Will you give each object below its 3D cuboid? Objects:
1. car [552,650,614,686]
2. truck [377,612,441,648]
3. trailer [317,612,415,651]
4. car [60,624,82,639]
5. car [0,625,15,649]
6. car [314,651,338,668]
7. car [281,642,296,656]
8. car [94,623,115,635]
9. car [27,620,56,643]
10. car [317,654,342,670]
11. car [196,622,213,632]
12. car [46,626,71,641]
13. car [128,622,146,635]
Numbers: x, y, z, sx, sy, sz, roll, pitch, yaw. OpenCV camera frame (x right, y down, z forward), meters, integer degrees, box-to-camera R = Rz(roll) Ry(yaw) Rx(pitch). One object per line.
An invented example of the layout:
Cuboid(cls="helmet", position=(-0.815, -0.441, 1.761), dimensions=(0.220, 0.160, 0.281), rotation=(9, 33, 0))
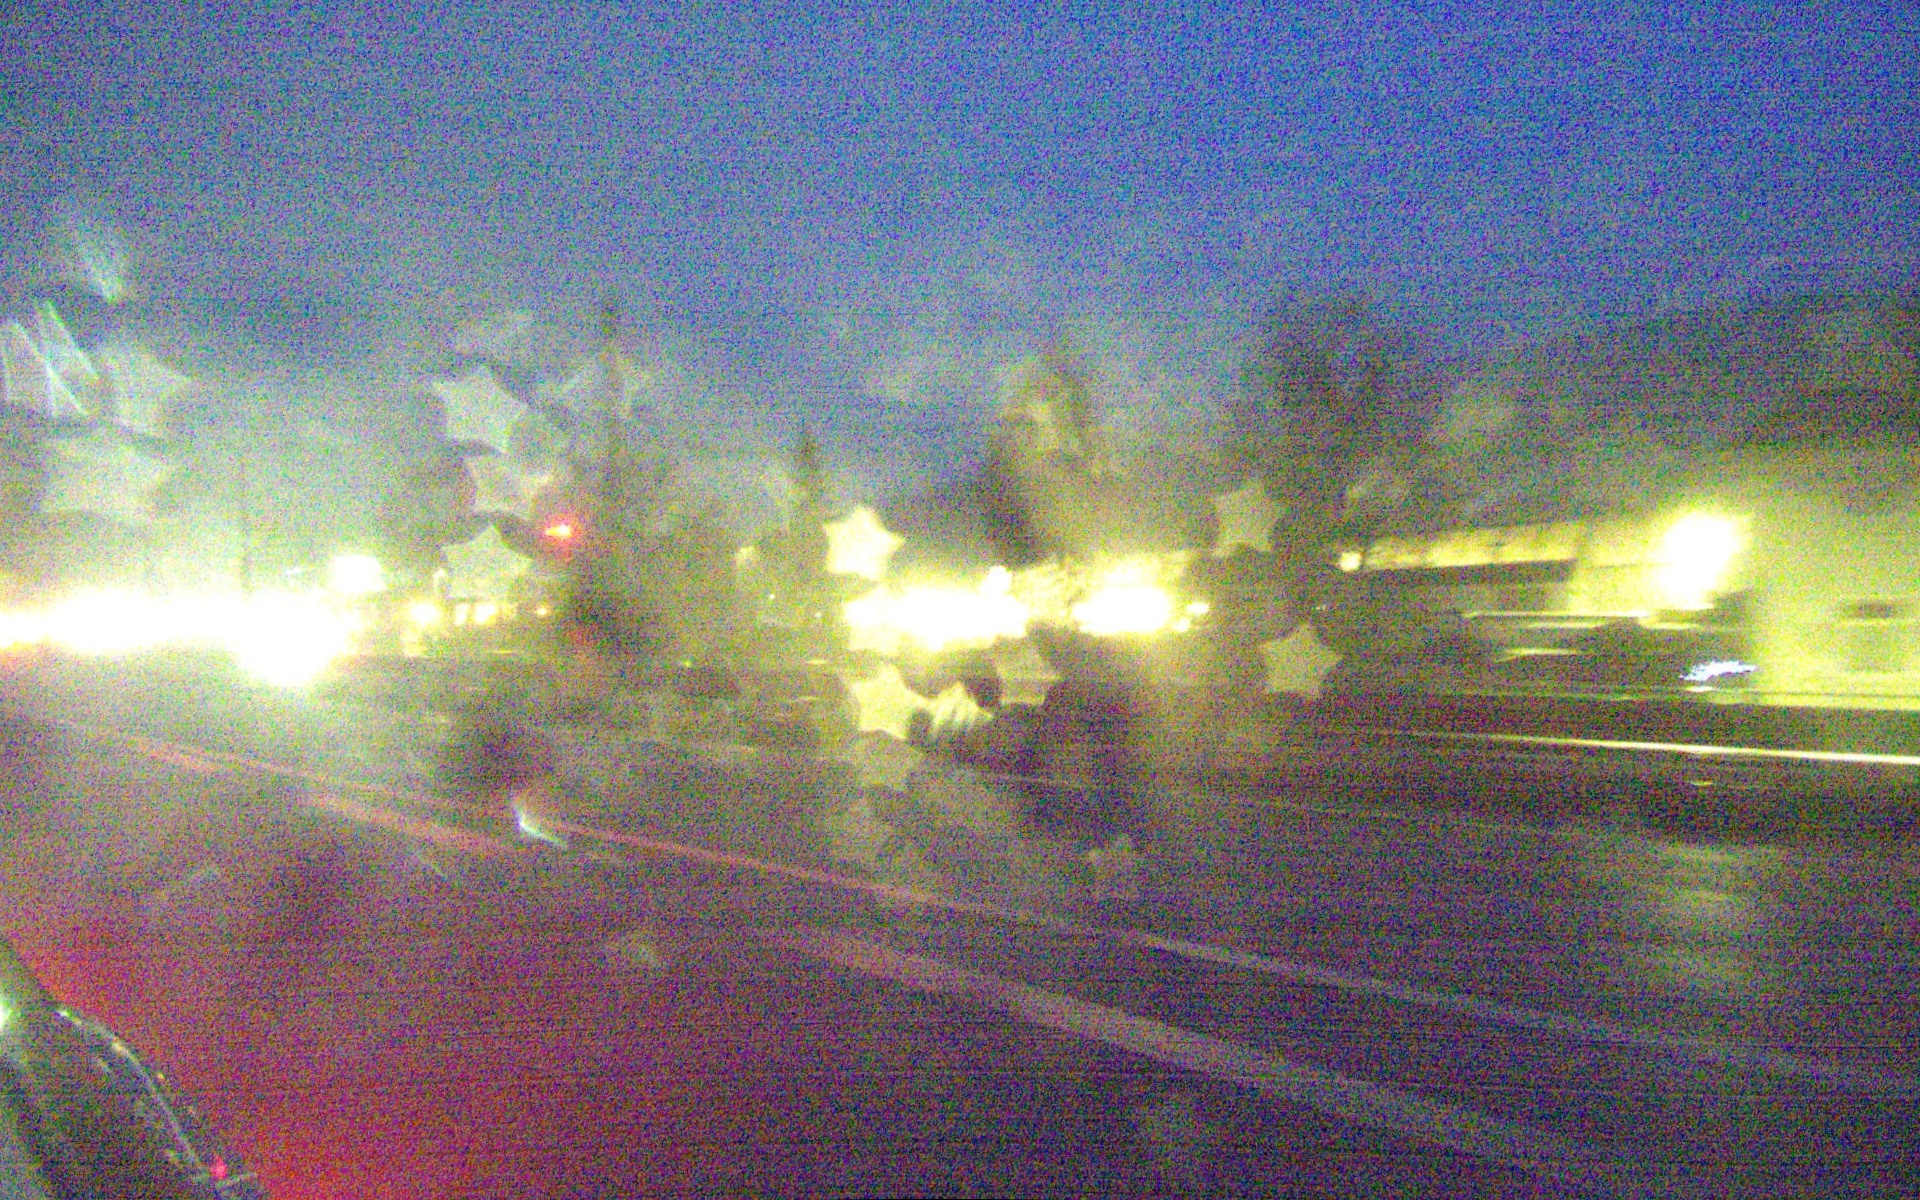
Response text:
Cuboid(cls="car", position=(-23.889, 4.245, 64.026), dimensions=(3.997, 2.029, 1.973), rotation=(-1, 0, 40))
Cuboid(cls="truck", position=(-77.490, 4.162, 142.423), dimensions=(3.323, 4.832, 7.248), rotation=(-1, 0, 28))
Cuboid(cls="trailer", position=(-80.298, 4.220, 137.193), dimensions=(3.323, 4.832, 11.444), rotation=(-1, 0, 28))
Cuboid(cls="car", position=(-107.059, 3.799, 121.860), dimensions=(1.665, 1.693, 3.476), rotation=(0, 0, -36))
Cuboid(cls="car", position=(-69.797, 2.661, 73.148), dimensions=(4.613, 1.625, 1.971), rotation=(-1, -1, 44))
Cuboid(cls="car", position=(-74.641, 6.974, 119.206), dimensions=(1.786, 1.688, 4.299), rotation=(-1, 0, -40))
Cuboid(cls="car", position=(-95.501, 6.977, 143.954), dimensions=(1.783, 1.688, 4.304), rotation=(-1, 0, -33))
Cuboid(cls="car", position=(-116.382, 3.947, 137.679), dimensions=(1.793, 1.571, 4.189), rotation=(-1, 0, -34))
Cuboid(cls="car", position=(-88.326, 2.965, 97.380), dimensions=(1.969, 2.090, 4.005), rotation=(-1, 0, -42))
Cuboid(cls="car", position=(-69.007, 6.763, 110.749), dimensions=(1.785, 1.582, 4.300), rotation=(-1, 0, -39))
Cuboid(cls="car", position=(-155.487, 5.502, 208.250), dimensions=(1.965, 1.819, 4.611), rotation=(-1, 0, -27))
Cuboid(cls="car", position=(-97.337, 3.643, 109.287), dimensions=(1.776, 1.531, 4.544), rotation=(0, -1, -38))
Cuboid(cls="car", position=(-130.994, 4.507, 161.130), dimensions=(1.764, 1.635, 4.389), rotation=(0, 3, -34))
